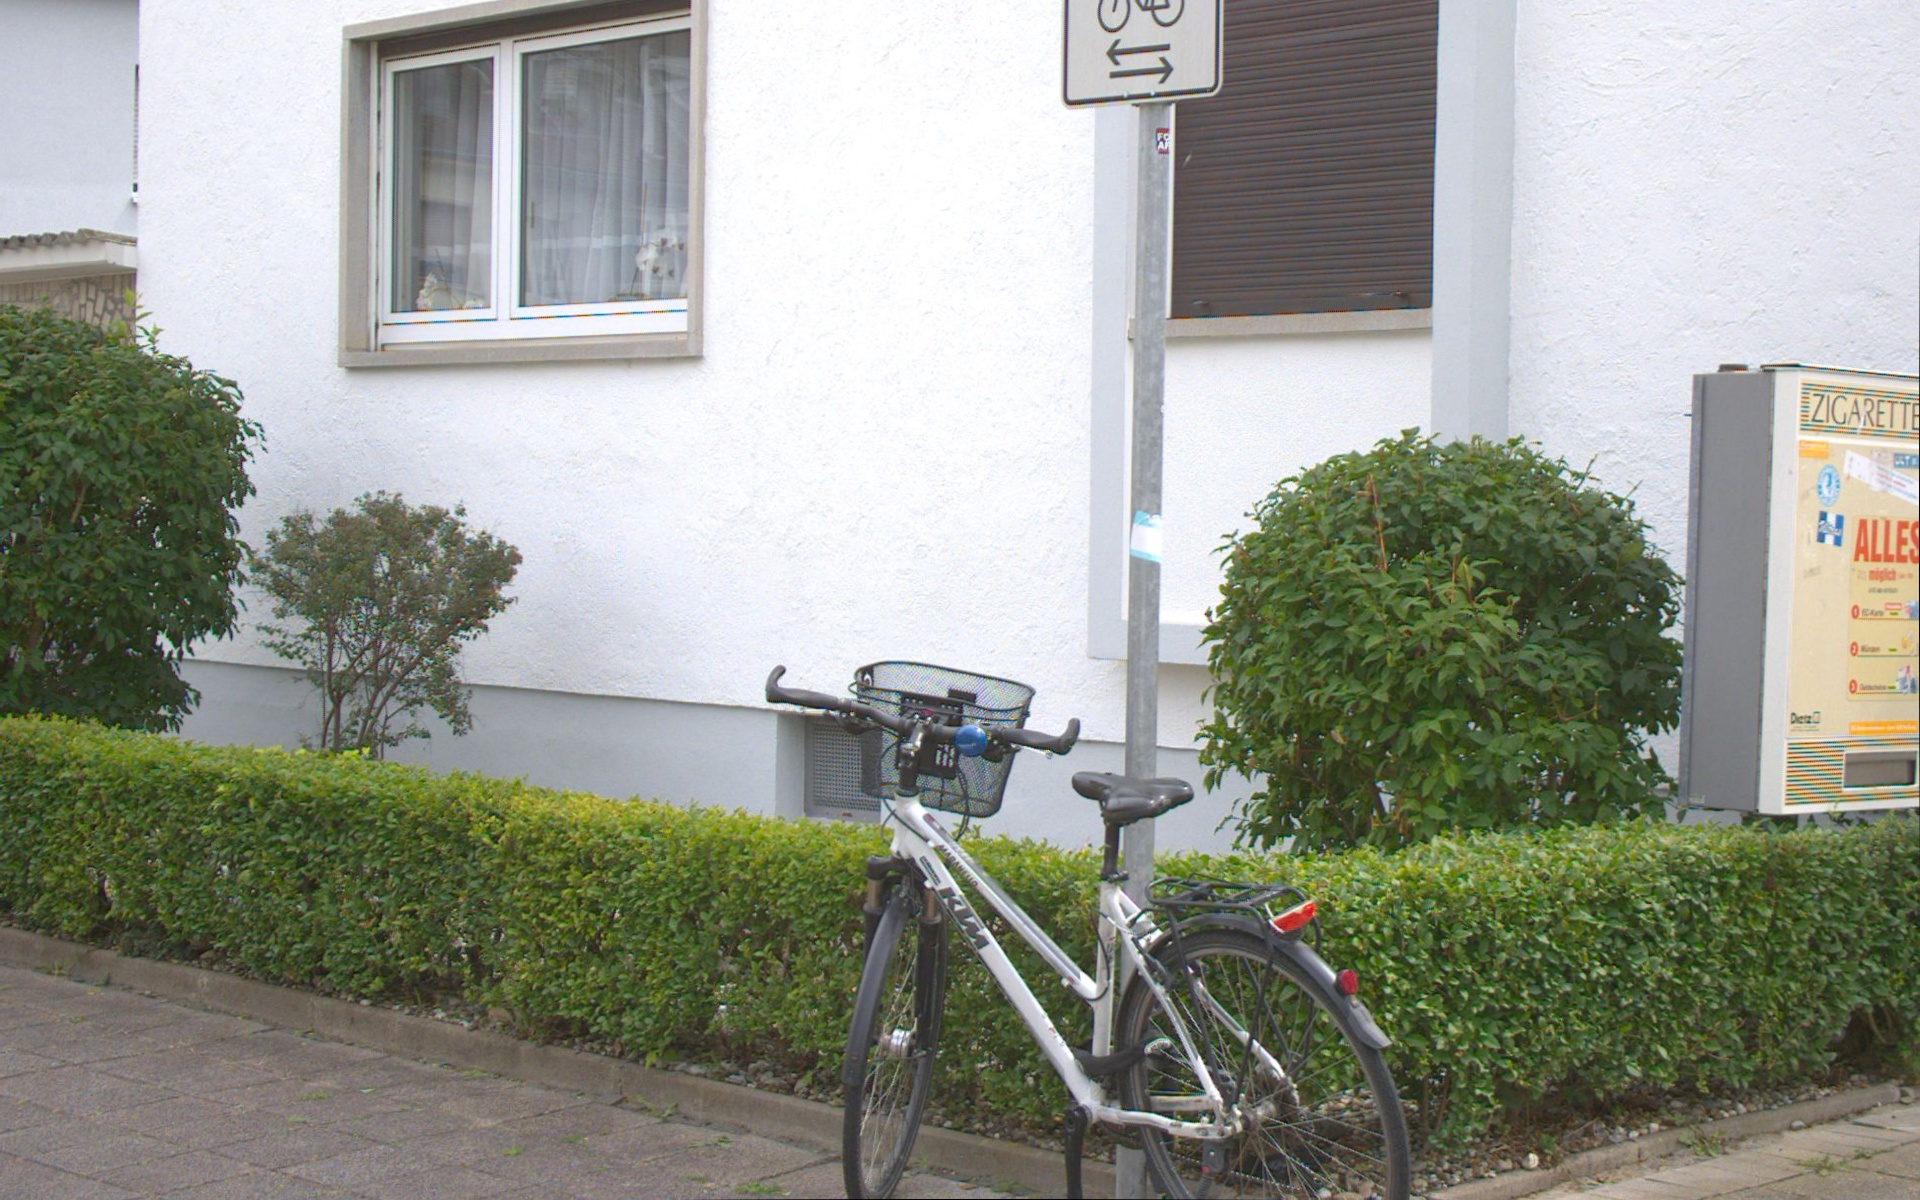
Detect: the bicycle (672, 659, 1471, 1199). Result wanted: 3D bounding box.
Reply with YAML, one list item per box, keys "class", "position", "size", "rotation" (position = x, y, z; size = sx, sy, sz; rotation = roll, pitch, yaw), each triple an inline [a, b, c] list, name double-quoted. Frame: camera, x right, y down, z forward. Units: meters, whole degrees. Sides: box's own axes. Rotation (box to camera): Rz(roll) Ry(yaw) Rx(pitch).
- class: "bicycle"
  position: [0.162, 0.713, 6.483]
  size: [1.638, 1.175, 0.434]
  rotation: [0, 0, 44]
